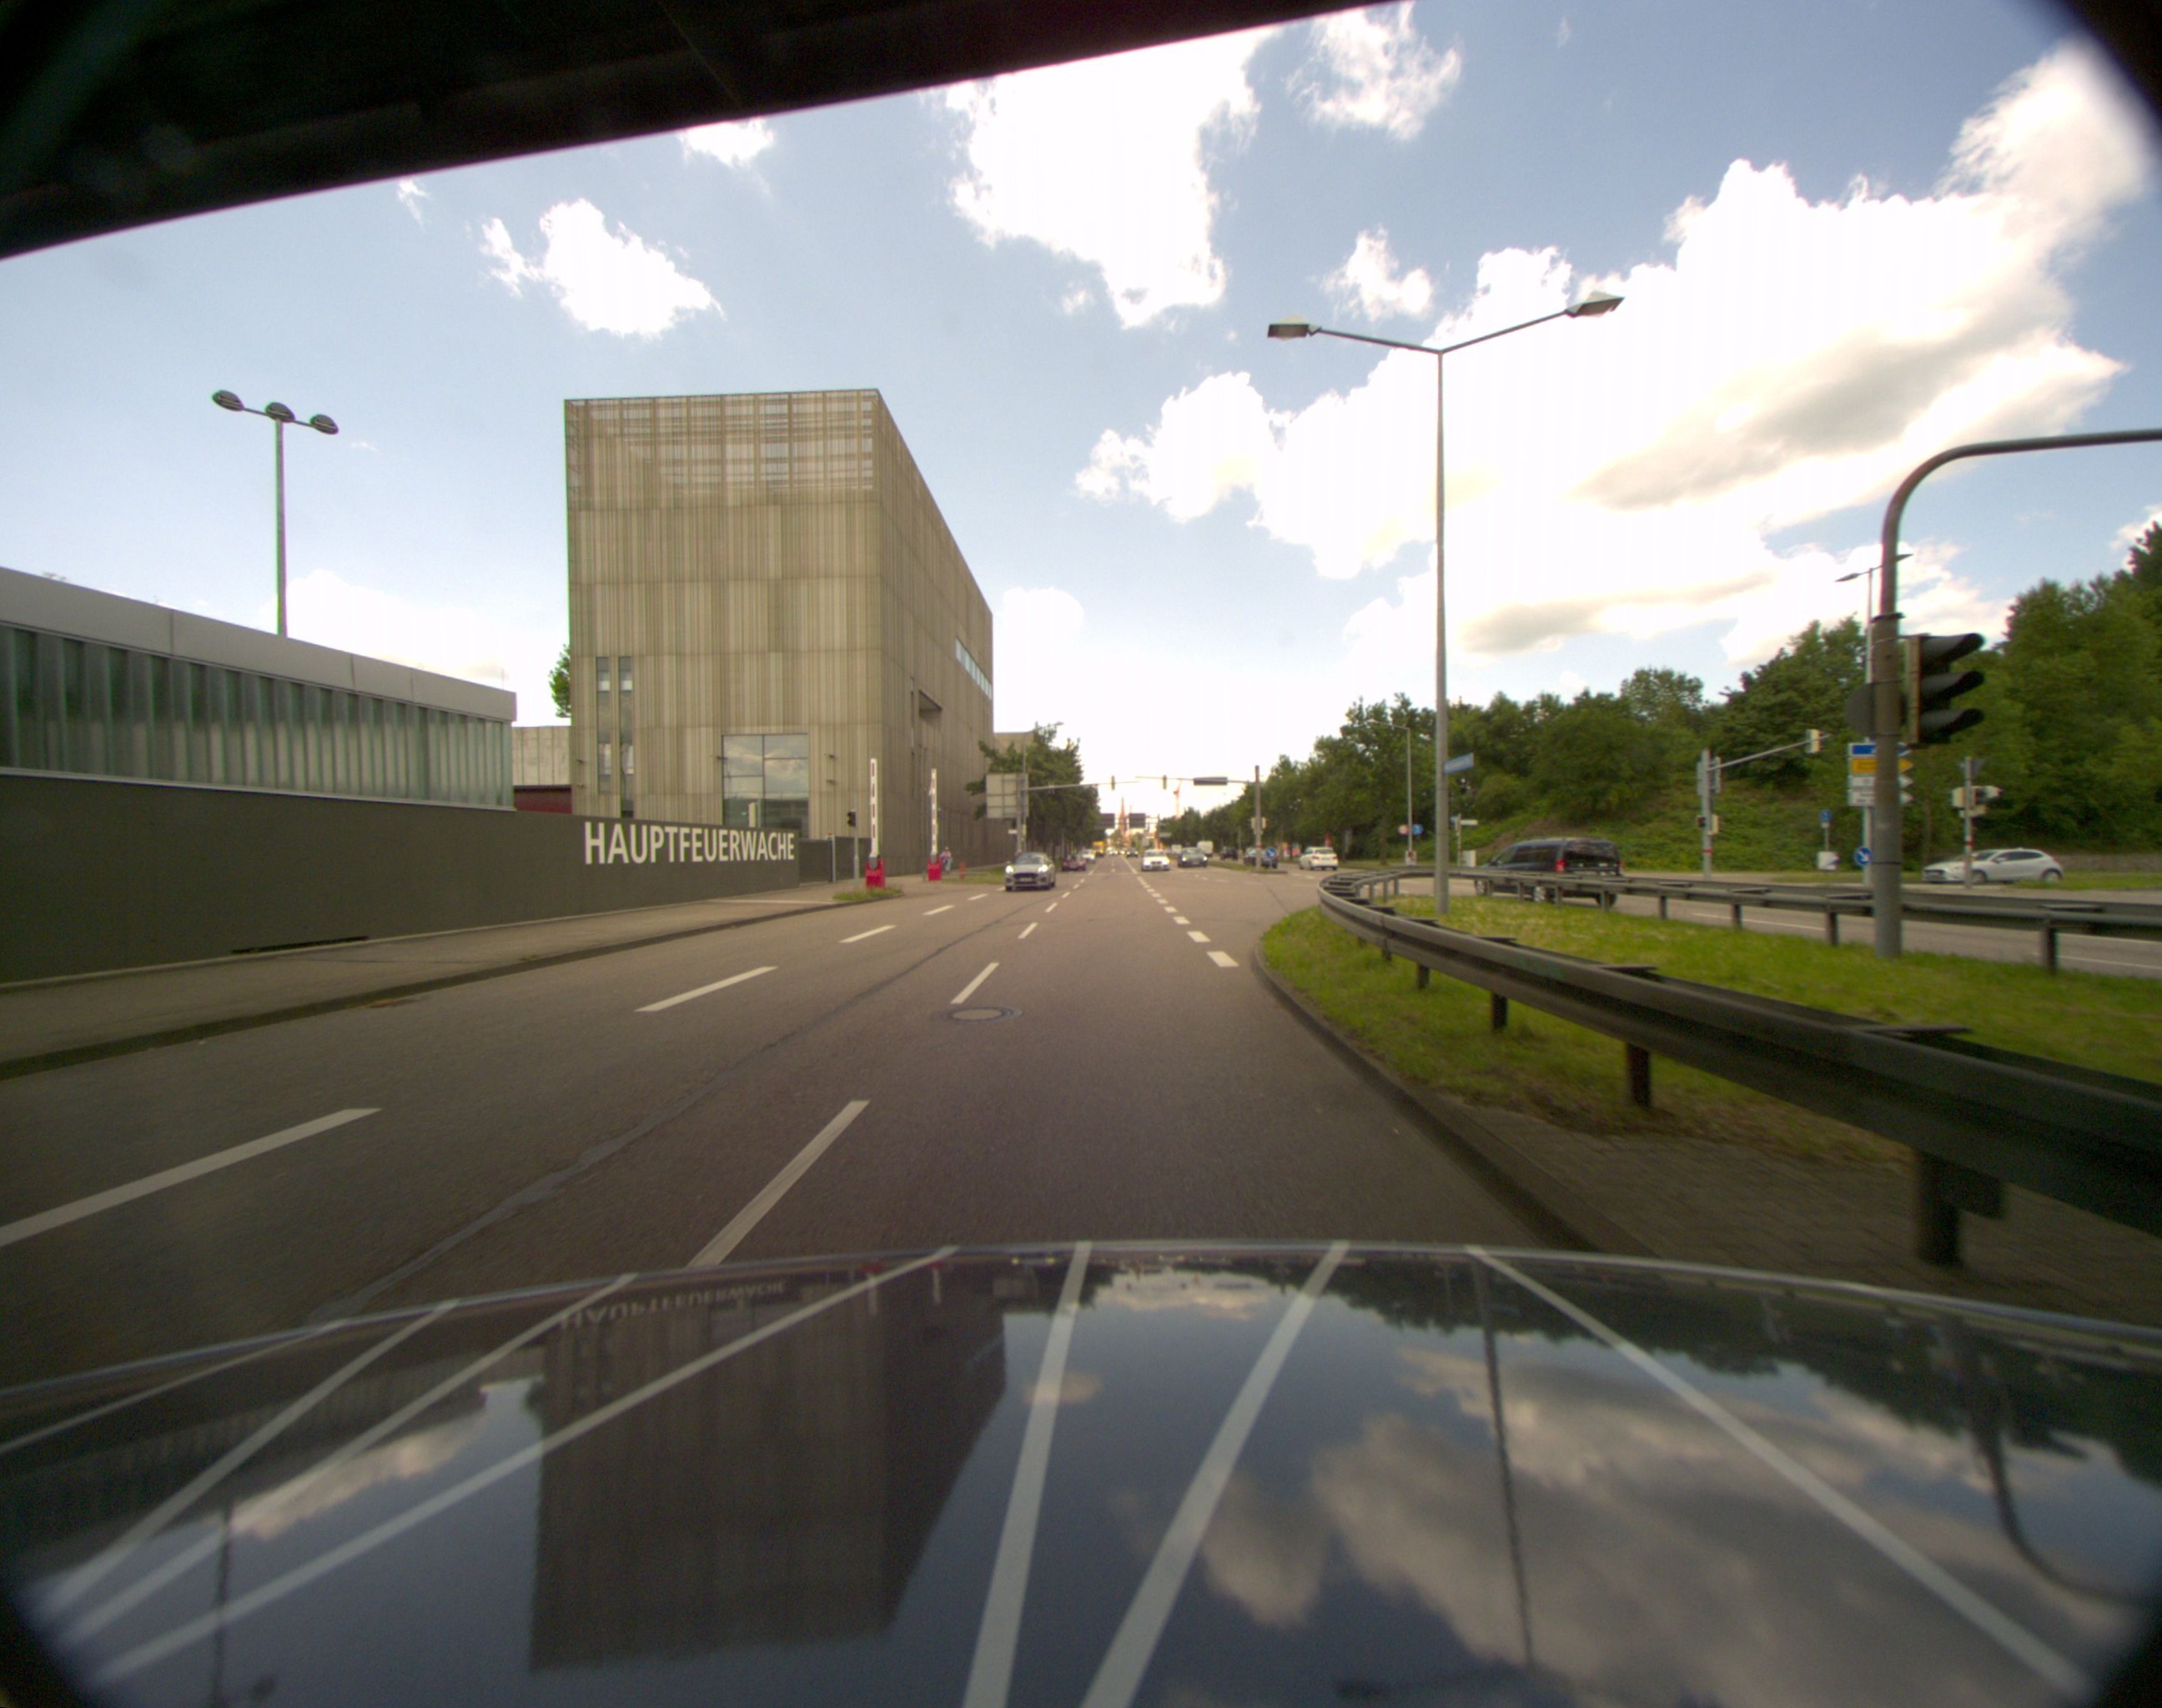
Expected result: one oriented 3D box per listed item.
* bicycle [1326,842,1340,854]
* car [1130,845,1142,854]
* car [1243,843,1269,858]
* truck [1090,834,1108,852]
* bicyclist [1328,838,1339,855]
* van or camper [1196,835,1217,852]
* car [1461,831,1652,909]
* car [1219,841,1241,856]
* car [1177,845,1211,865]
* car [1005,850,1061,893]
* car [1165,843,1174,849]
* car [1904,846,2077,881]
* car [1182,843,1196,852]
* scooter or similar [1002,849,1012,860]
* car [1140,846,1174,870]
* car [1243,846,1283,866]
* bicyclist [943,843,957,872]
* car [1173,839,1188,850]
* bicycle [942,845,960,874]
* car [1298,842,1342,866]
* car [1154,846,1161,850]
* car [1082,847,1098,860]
[{"bbox_3d":[27.611,-0.652,83.181,0.823,1.263,2.393,-2,1,3],"label":"bicycle"},{"bbox_3d":[8.666,-0.723,120.703,1.782,1.487,3.599,0,1,3],"label":"car"},{"bbox_3d":[17.893,-0.379,77.869,1.930,1.521,4.000,0,1,3],"label":"car"},{"bbox_3d":[3.254,-2.014,138.706,3.066,3.095,7.935,0,1,3],"label":"truck"},{"bbox_3d":[27.581,-0.824,83.108,0.894,1.737,0.997,-2,1,4],"label":"bicyclist"},{"bbox_3d":[19.772,-1.686,120.104,2.357,2.525,7.064,-1,1,2],"label":"van or camper"},{"bbox_3d":[11.868,0.346,19.440,1.998,1.748,4.716,0,1,1],"label":"car"},{"bbox_3d":[18.484,-0.709,94.274,1.998,1.756,4.220,-1,0,2],"label":"car"},{"bbox_3d":[8.402,0.039,56.990,1.998,1.407,4.832,-2,1,3],"label":"car"},{"bbox_3d":[-1.907,0.676,31.551,1.823,1.565,3.954,-2,1,3],"label":"car"},{"bbox_3d":[21.746,-1.883,186.438,1.998,1.423,5.024,0,1,3],"label":"car"},{"bbox_3d":[37.392,0.369,31.355,4.316,1.371,2.001,0,1,9],"label":"car"},{"bbox_3d":[21.804,-1.312,153.199,1.999,1.791,4.408,0,1,-2],"label":"car"},{"bbox_3d":[-8.304,0.061,85.218,0.706,1.239,2.480,0,1,3],"label":"scooter or similar"},{"bbox_3d":[5.069,0.215,51.126,1.919,1.406,4.296,-4,0,3],"label":"car"},{"bbox_3d":[13.339,0.094,55.944,1.978,1.381,4.781,0,1,3],"label":"car"},{"bbox_3d":[-8.168,0.217,47.547,0.717,1.759,0.988,0,1,-1],"label":"bicyclist"},{"bbox_3d":[18.795,-1.810,143.783,2.196,1.952,5.193,0,1,2],"label":"car"},{"bbox_3d":[-8.173,0.296,47.704,0.721,1.764,2.533,0,1,-1],"label":"bicycle"},{"bbox_3d":[16.239,-0.026,51.903,1.810,1.623,4.392,0,1,3],"label":"car"},{"bbox_3d":[25.371,-1.986,252.859,1.964,1.508,4.909,0,1,2],"label":"car"},{"bbox_3d":[1.012,-0.102,86.744,1.713,1.487,3.650,0,1,3],"label":"car"}]
